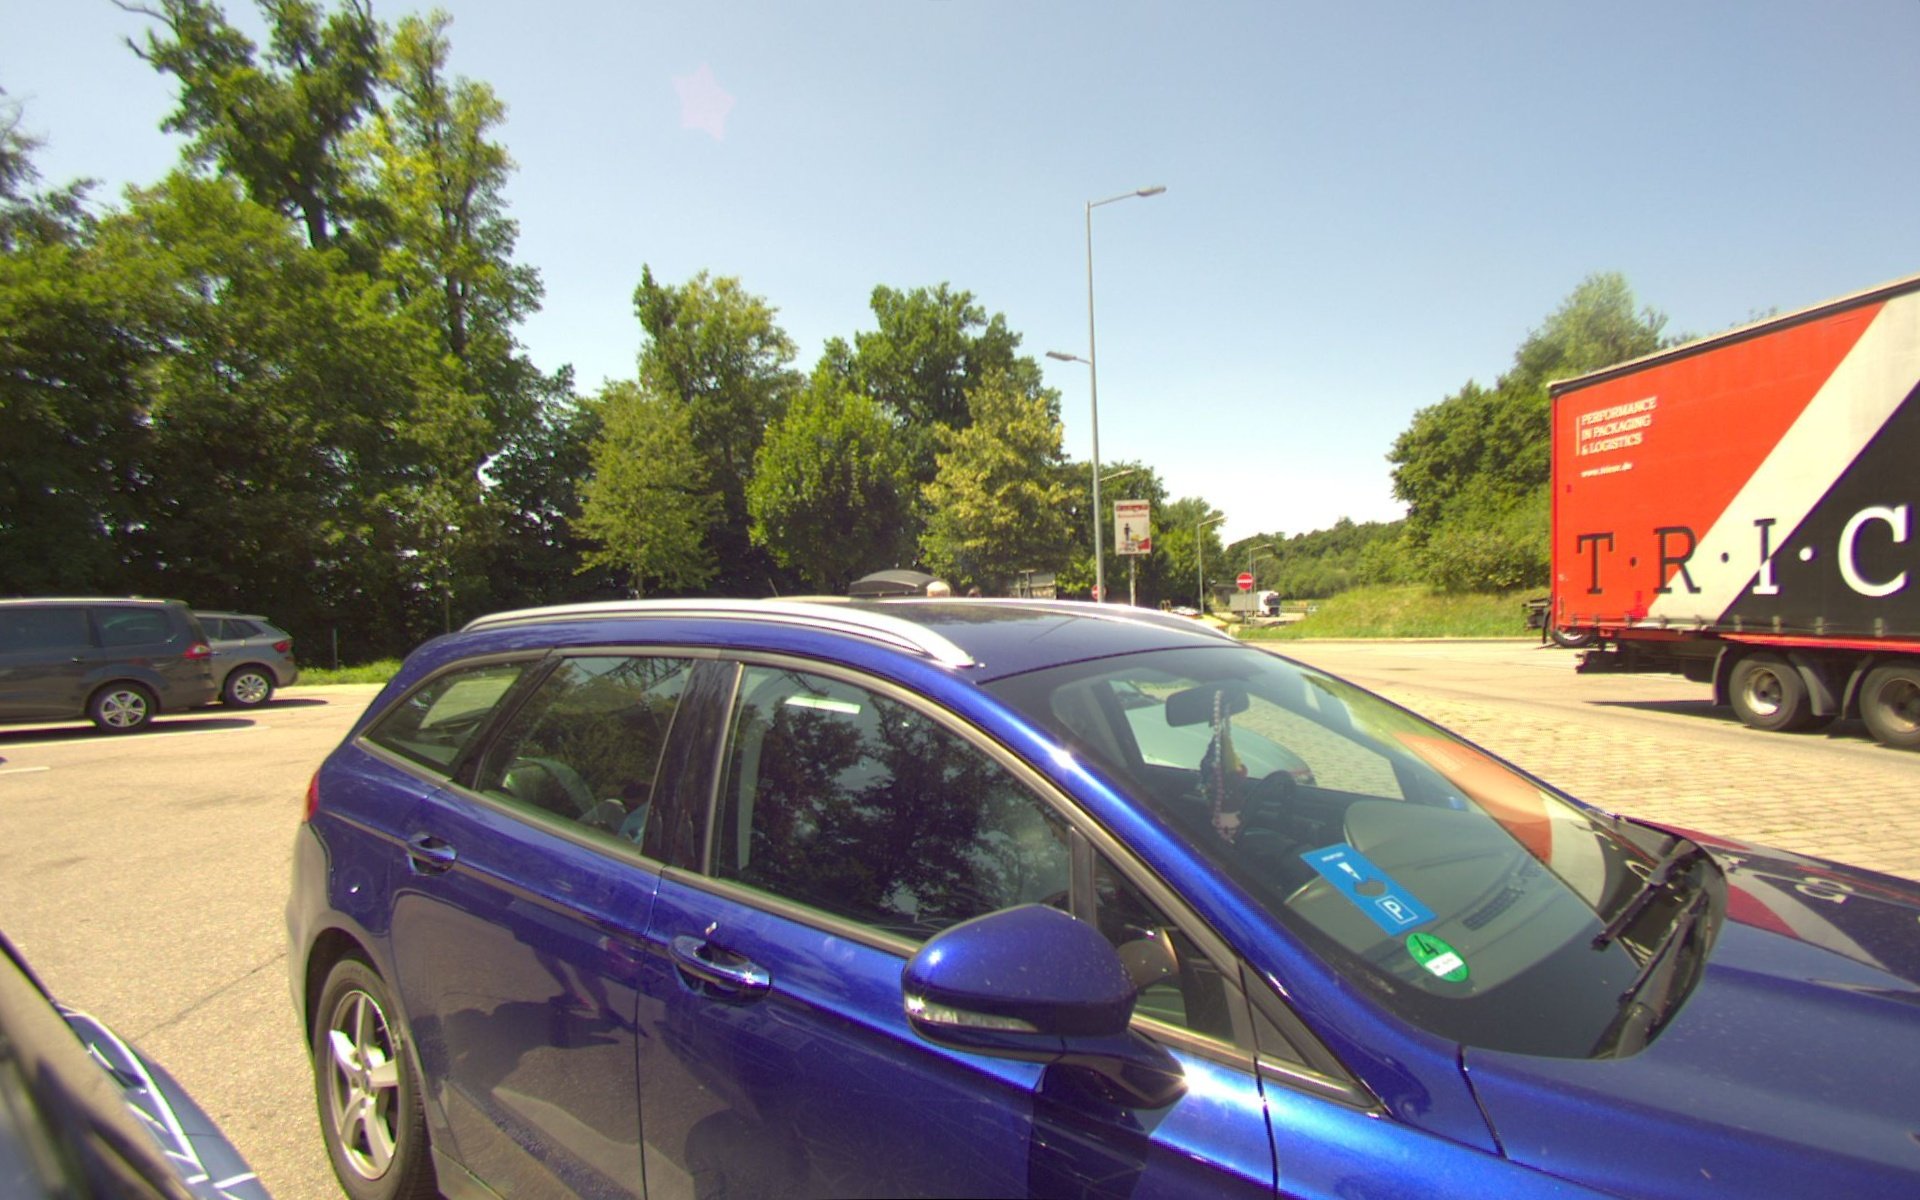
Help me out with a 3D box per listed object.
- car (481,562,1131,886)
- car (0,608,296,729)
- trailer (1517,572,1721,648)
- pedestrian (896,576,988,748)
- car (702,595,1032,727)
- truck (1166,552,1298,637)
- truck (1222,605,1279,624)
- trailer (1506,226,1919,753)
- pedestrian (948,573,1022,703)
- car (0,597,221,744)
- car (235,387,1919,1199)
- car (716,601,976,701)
[{"bbox_3d":[-1.274,0.636,6.739,4.466,1.476,1.756,-3,-1,40],"label":"car"},{"bbox_3d":[-12.724,0.976,15.606,3.910,1.598,1.782,-1,-1,-43],"label":"car"},{"bbox_3d":[15.773,0.275,24.331,3.900,1.674,1.456,-2,-1,41],"label":"trailer"},{"bbox_3d":[-0.190,0.592,10.008,0.661,1.614,0.761,-1,-1,-19],"label":"pedestrian"},{"bbox_3d":[-1.373,0.760,13.532,4.466,1.476,1.756,-3,-1,40],"label":"car"},{"bbox_3d":[12.806,-0.228,47.609,5.782,3.720,1.987,-2,-1,20],"label":"truck"},{"bbox_3d":[47.580,2.420,166.541,2.512,2.944,16.283,-1,-1,-9],"label":"truck"},{"bbox_3d":[9.149,-0.912,9.222,2.799,4.290,8.695,-2,-1,-6],"label":"trailer"},{"bbox_3d":[0.338,0.500,13.435,0.714,1.662,0.641,-2,-1,31],"label":"pedestrian"},{"bbox_3d":[-11.695,0.851,12.555,3.910,1.701,1.782,-1,-1,-43],"label":"car"},{"bbox_3d":[0.229,0.634,2.101,4.466,1.476,1.756,-3,-1,40],"label":"car"},{"bbox_3d":[-2.025,0.832,17.085,4.466,1.476,1.756,-3,-1,40],"label":"car"}]
